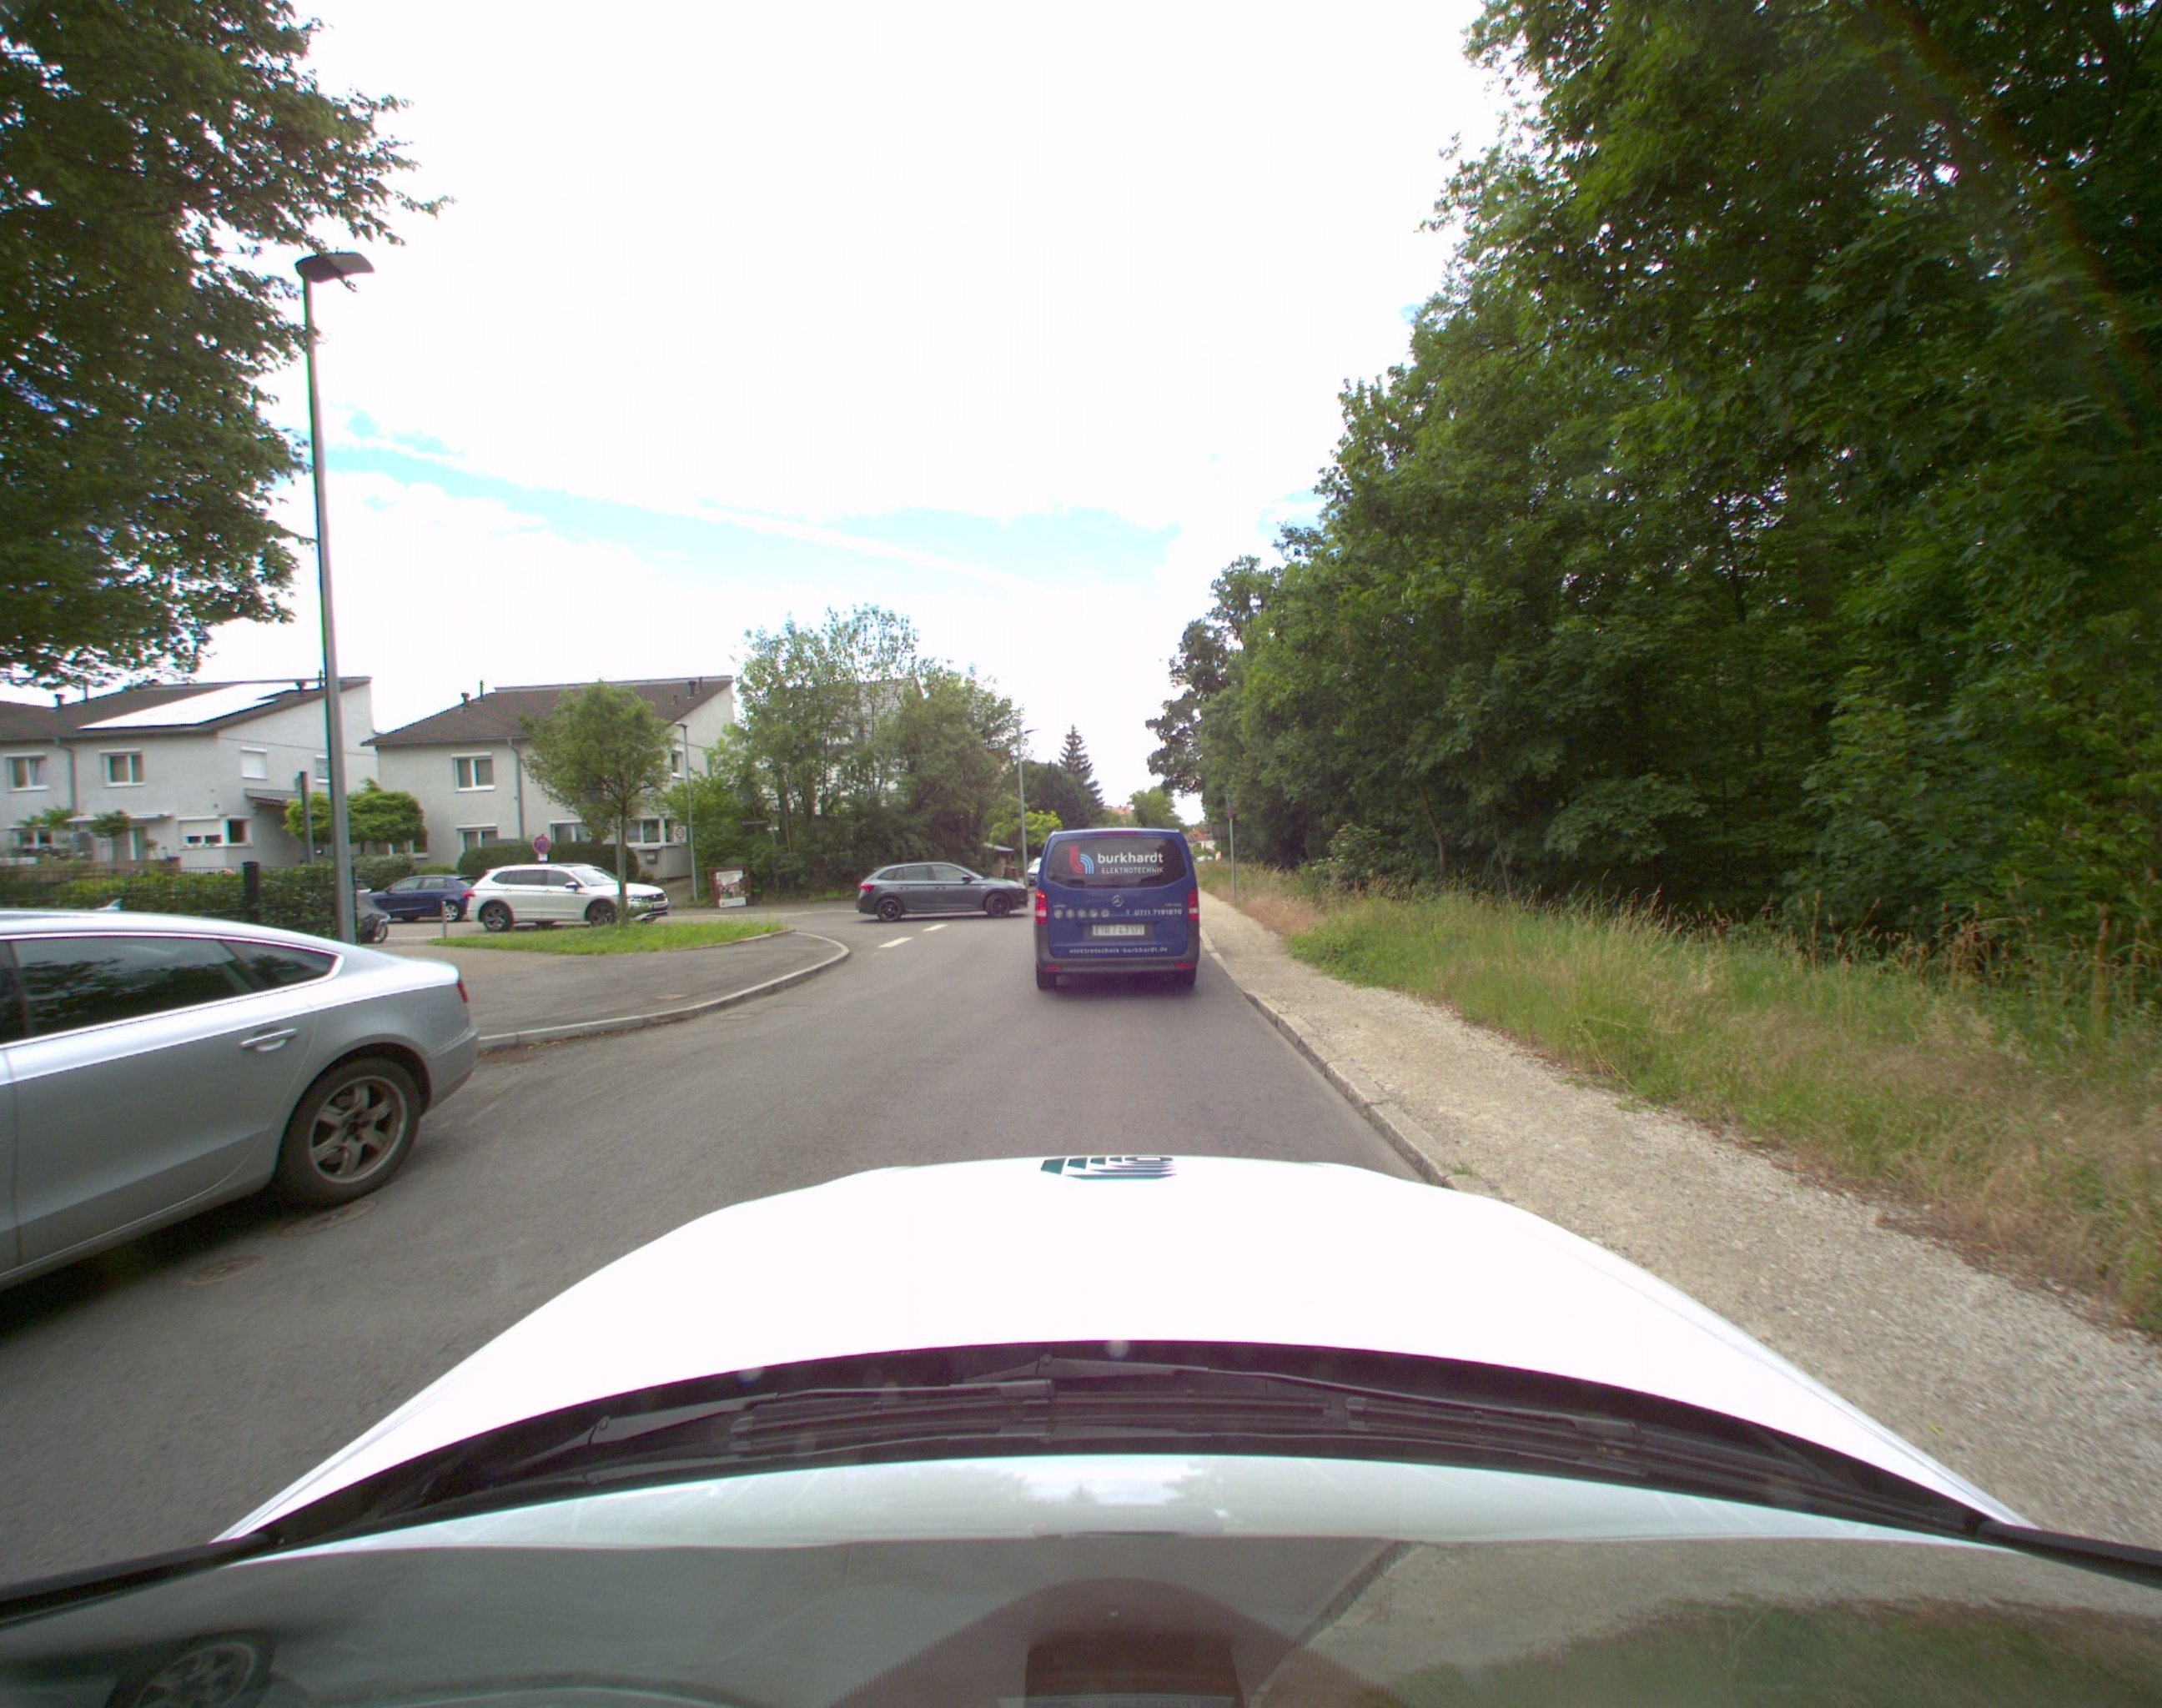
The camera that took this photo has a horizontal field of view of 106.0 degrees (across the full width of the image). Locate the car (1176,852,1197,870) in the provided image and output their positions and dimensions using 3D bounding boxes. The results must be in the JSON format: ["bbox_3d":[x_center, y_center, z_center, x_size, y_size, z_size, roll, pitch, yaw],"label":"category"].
[{"bbox_3d":[13.255,0.877,101.602,2.192,2.063,6.153,-2,0,11],"label":"car"}]

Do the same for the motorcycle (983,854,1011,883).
[{"bbox_3d":[-4.452,0.761,43.597,0.805,1.485,2.902,-1,0,8],"label":"motorcycle"}]

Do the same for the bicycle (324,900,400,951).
[{"bbox_3d":[-16.016,1.552,18.120,2.551,1.001,0.657,-1,0,35],"label":"bicycle"}]

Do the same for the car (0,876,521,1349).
[{"bbox_3d":[-4.221,0.836,2.447,1.824,1.374,4.448,-1,0,3],"label":"car"}]

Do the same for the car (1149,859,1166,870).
[{"bbox_3d":[10.223,1.367,108.456,1.737,1.404,4.013,-1,0,11],"label":"car"}]

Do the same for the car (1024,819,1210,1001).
[{"bbox_3d":[0.423,0.579,10.868,1.929,1.880,4.531,-1,0,1],"label":"car"}]

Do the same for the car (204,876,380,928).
[{"bbox_3d":[-23.674,1.419,24.523,3.770,1.412,1.531,-1,0,0],"label":"car"}]

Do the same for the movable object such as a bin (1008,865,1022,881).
[{"bbox_3d":[-3.714,1.057,45.635,0.587,0.909,0.703,-1,-1,12],"label":"movable object such as a bin"}]

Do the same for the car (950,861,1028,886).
[{"bbox_3d":[-5.681,1.218,50.658,4.455,1.441,1.883,-1,0,8],"label":"car"}]

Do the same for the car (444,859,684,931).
[{"bbox_3d":[-13.198,1.019,20.984,4.914,1.670,2.039,-1,-1,4],"label":"car"}]

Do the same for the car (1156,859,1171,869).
[{"bbox_3d":[11.639,1.426,114.793,1.737,1.404,4.013,-1,0,11],"label":"car"}]

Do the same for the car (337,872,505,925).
[{"bbox_3d":[-19.598,1.303,24.301,3.531,1.412,1.670,-1,0,-3],"label":"car"}]

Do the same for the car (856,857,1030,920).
[{"bbox_3d":[-3.460,0.829,20.745,4.164,1.447,1.735,-1,0,-9],"label":"car"}]

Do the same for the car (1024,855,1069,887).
[{"bbox_3d":[-1.667,0.818,40.982,1.697,1.468,4.082,-1,0,6],"label":"car"}]
